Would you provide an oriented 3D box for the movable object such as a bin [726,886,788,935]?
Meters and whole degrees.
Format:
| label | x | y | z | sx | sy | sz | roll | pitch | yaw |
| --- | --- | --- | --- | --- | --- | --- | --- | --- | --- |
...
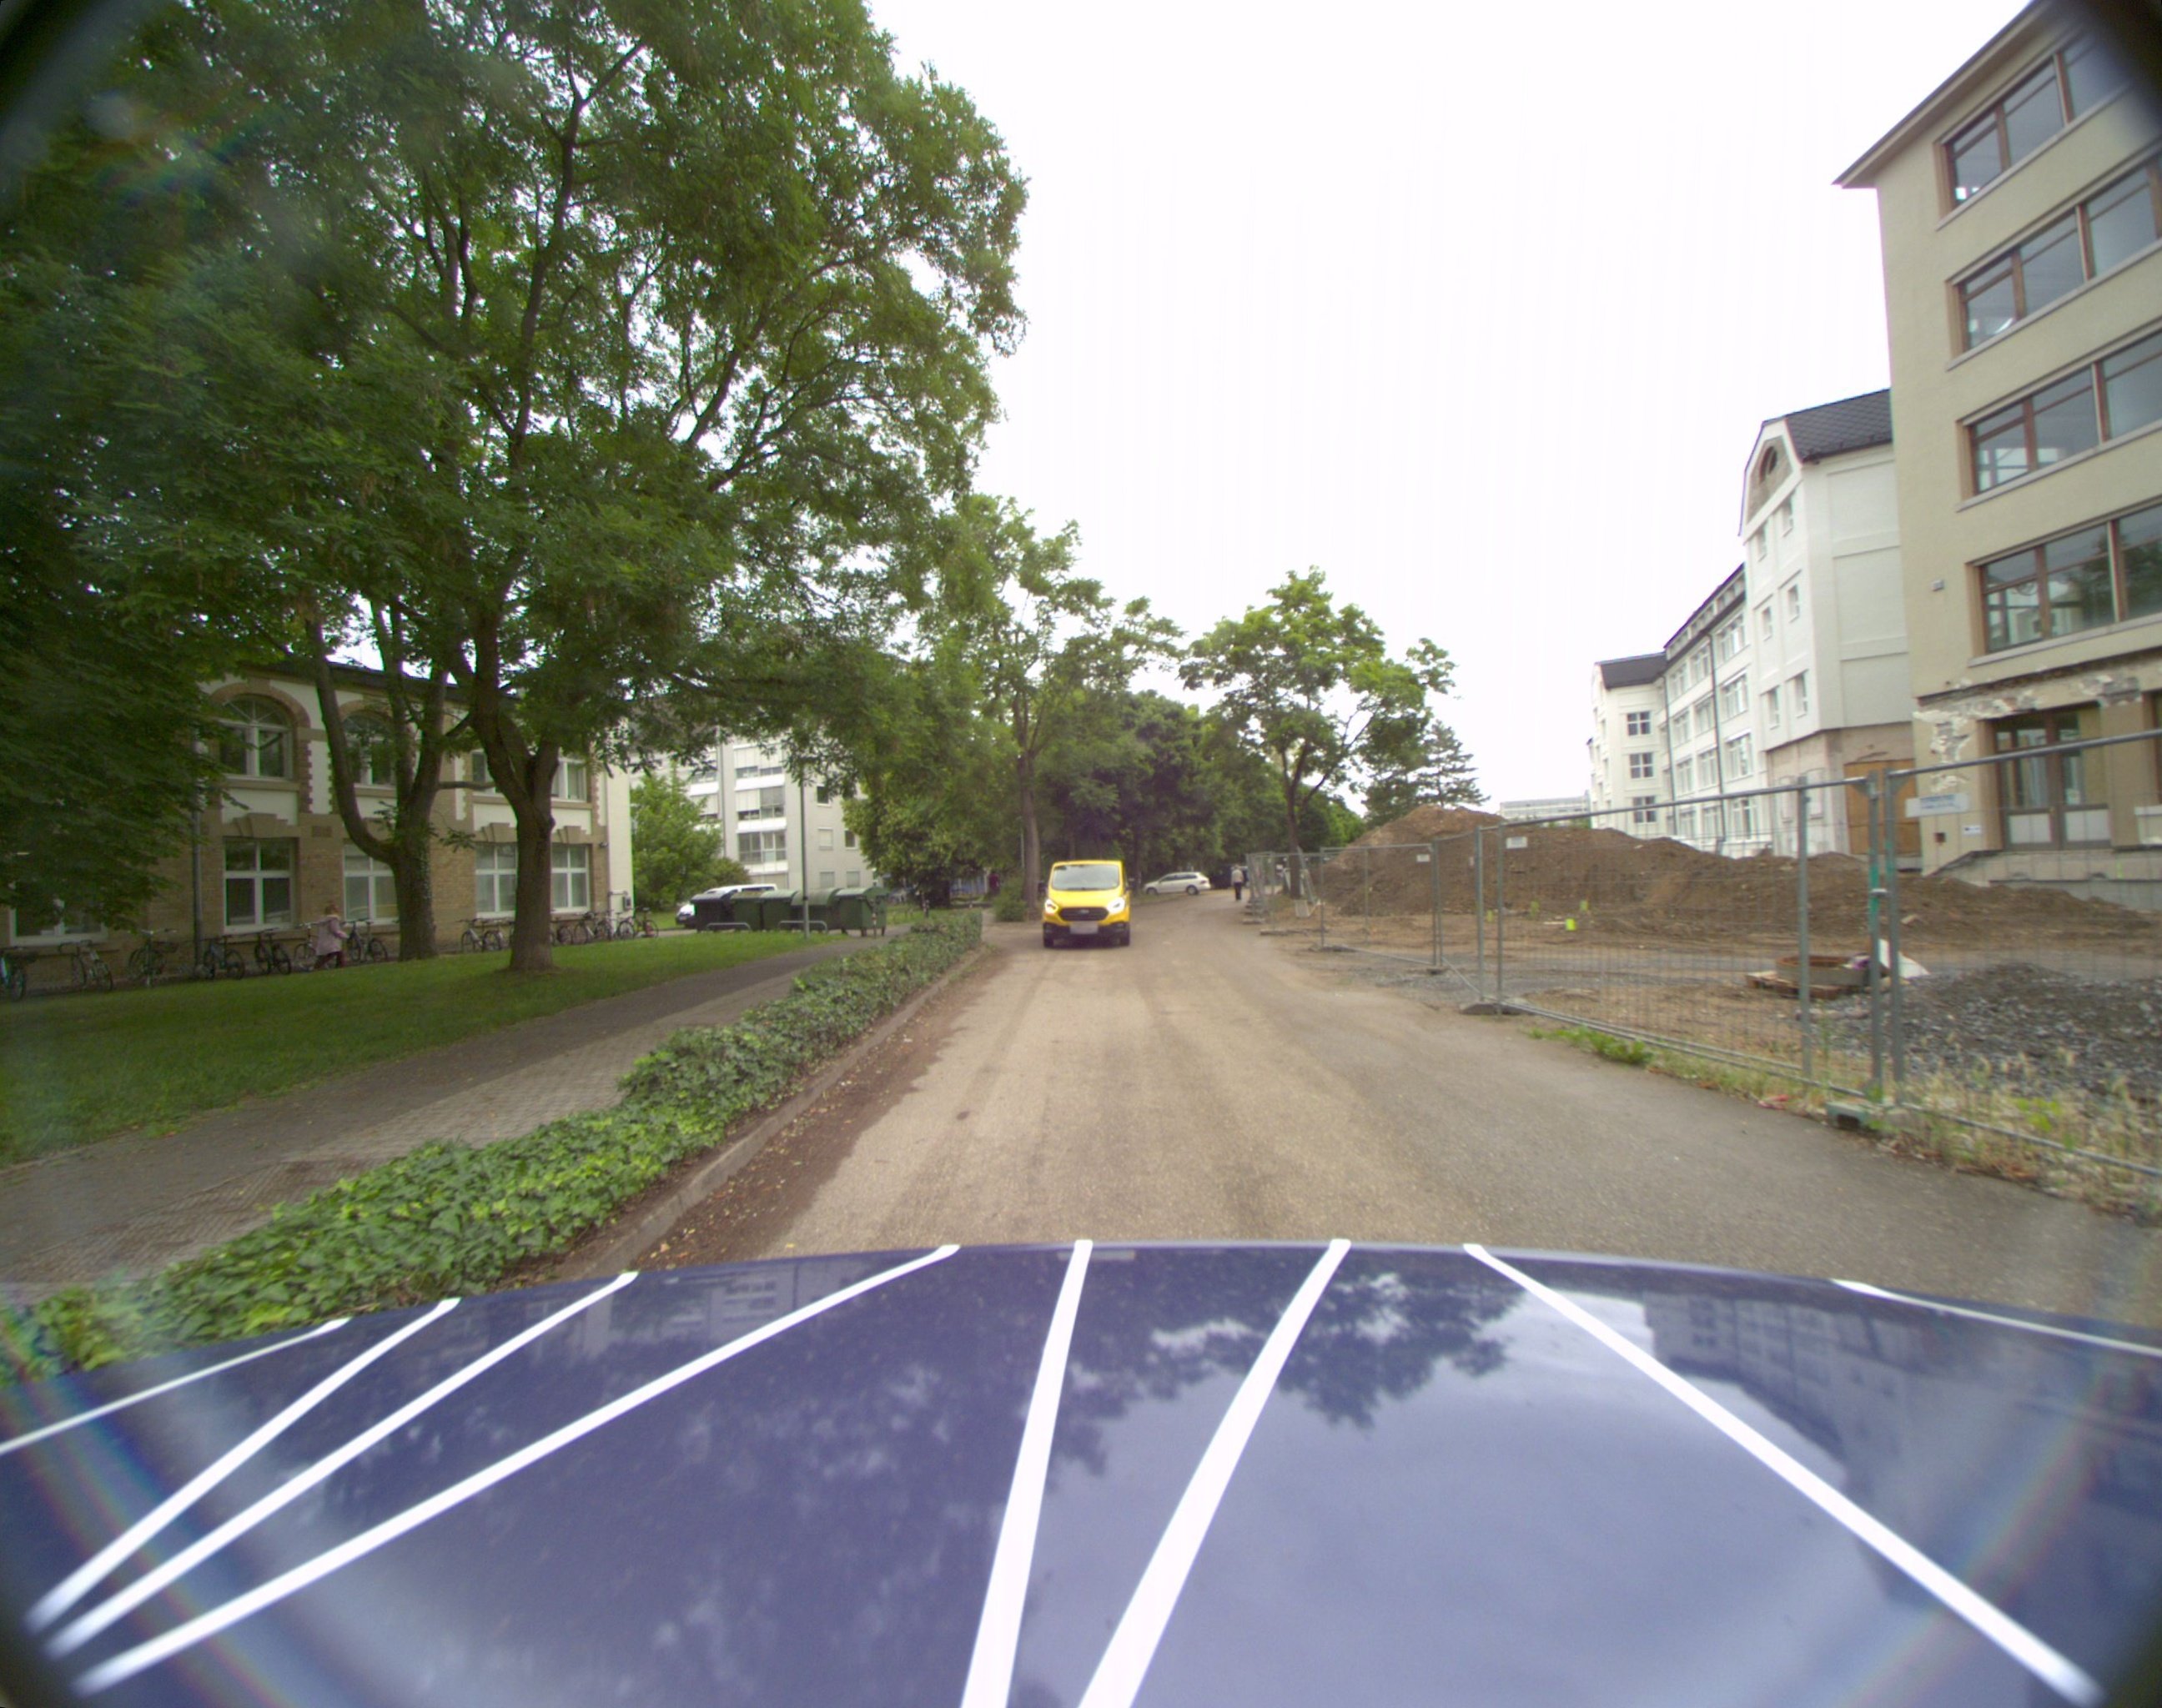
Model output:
| label | x | y | z | sx | sy | sz | roll | pitch | yaw |
| --- | --- | --- | --- | --- | --- | --- | --- | --- | --- |
| movable object such as a bin | -10.250 | 1.773 | 24.059 | 1.324 | 1.441 | 1.110 | -3 | -1 | 20 |

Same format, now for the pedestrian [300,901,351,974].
| label | x | y | z | sx | sy | sz | roll | pitch | yaw |
| --- | --- | --- | --- | --- | --- | --- | --- | --- | --- |
| pedestrian | -16.994 | 1.868 | 17.090 | 0.603 | 1.577 | 0.628 | -3 | -1 | 27 |

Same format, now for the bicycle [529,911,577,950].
| label | x | y | z | sx | sy | sz | roll | pitch | yaw |
| --- | --- | --- | --- | --- | --- | --- | --- | --- | --- |
| bicycle | -15.885 | 2.291 | 22.839 | 1.740 | 1.108 | 0.461 | -3 | -1 | 30 |

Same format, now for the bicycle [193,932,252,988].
| label | x | y | z | sx | sy | sz | roll | pitch | yaw |
| --- | --- | --- | --- | --- | --- | --- | --- | --- | --- |
| bicycle | -18.807 | 2.291 | 16.642 | 1.740 | 1.108 | 0.461 | -2 | -1 | 28 |

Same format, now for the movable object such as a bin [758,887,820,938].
| label | x | y | z | sx | sy | sz | roll | pitch | yaw |
| --- | --- | --- | --- | --- | --- | --- | --- | --- | --- |
| movable object such as a bin | -8.969 | 1.795 | 23.376 | 1.292 | 1.441 | 1.111 | -3 | -1 | 22 |

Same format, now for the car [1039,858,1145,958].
| label | x | y | z | sx | sy | sz | roll | pitch | yaw |
| --- | --- | --- | --- | --- | --- | --- | --- | --- | --- |
| car | 0.243 | 1.176 | 17.870 | 2.124 | 2.001 | 4.001 | -2 | -1 | 0 |

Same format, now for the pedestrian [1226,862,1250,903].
| label | x | y | z | sx | sy | sz | roll | pitch | yaw |
| --- | --- | --- | --- | --- | --- | --- | --- | --- | --- |
| pedestrian | 7.029 | 1.275 | 34.051 | 0.752 | 1.771 | 0.662 | -2 | -1 | -24 |

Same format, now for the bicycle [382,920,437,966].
| label | x | y | z | sx | sy | sz | roll | pitch | yaw |
| --- | --- | --- | --- | --- | --- | --- | --- | --- | --- |
| bicycle | -17.453 | 2.294 | 19.741 | 1.740 | 1.108 | 0.461 | -3 | -1 | 28 |

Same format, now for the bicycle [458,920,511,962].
| label | x | y | z | sx | sy | sz | roll | pitch | yaw |
| --- | --- | --- | --- | --- | --- | --- | --- | --- | --- |
| bicycle | -16.630 | 2.412 | 21.172 | 1.740 | 1.108 | 0.461 | -3 | -1 | 28 |

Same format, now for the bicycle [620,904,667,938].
| label | x | y | z | sx | sy | sz | roll | pitch | yaw |
| --- | --- | --- | --- | --- | --- | --- | --- | --- | --- |
| bicycle | -14.624 | 2.242 | 25.389 | 1.740 | 1.108 | 0.461 | -3 | -1 | 27 |

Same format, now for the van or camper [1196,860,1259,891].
| label | x | y | z | sx | sy | sz | roll | pitch | yaw |
| --- | --- | --- | --- | --- | --- | --- | --- | --- | --- |
| van or camper | 11.770 | 1.724 | 61.191 | 4.490 | 2.244 | 2.004 | -3 | -1 | 27 |

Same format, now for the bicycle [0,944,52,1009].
| label | x | y | z | sx | sy | sz | roll | pitch | yaw |
| --- | --- | --- | --- | --- | --- | --- | --- | --- | --- |
| bicycle | -19.850 | 2.272 | 14.210 | 1.740 | 1.108 | 0.461 | -3 | -1 | 28 |

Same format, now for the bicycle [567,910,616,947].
| label | x | y | z | sx | sy | sz | roll | pitch | yaw |
| --- | --- | --- | --- | --- | --- | --- | --- | --- | --- |
| bicycle | -15.373 | 2.347 | 23.854 | 1.740 | 1.108 | 0.461 | -3 | -1 | 28 |

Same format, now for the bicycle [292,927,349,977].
| label | x | y | z | sx | sy | sz | roll | pitch | yaw |
| --- | --- | --- | --- | --- | --- | --- | --- | --- | --- |
| bicycle | -18.074 | 2.314 | 18.052 | 1.740 | 1.108 | 0.461 | -3 | -1 | 28 |

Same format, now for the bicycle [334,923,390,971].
| label | x | y | z | sx | sy | sz | roll | pitch | yaw |
| --- | --- | --- | --- | --- | --- | --- | --- | --- | --- |
| bicycle | -17.728 | 2.290 | 18.719 | 1.740 | 1.108 | 0.461 | -3 | -1 | 28 |

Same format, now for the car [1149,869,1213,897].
| label | x | y | z | sx | sy | sz | roll | pitch | yaw |
| --- | --- | --- | --- | --- | --- | --- | --- | --- | --- |
| car | 6.552 | 1.893 | 49.597 | 3.879 | 1.565 | 1.754 | -3 | -1 | 15 |

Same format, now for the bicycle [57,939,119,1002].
| label | x | y | z | sx | sy | sz | roll | pitch | yaw |
| --- | --- | --- | --- | --- | --- | --- | --- | --- | --- |
| bicycle | -19.666 | 2.280 | 15.043 | 1.740 | 1.108 | 0.461 | -1 | 0 | 28 |

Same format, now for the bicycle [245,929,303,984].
| label | x | y | z | sx | sy | sz | roll | pitch | yaw |
| --- | --- | --- | --- | --- | --- | --- | --- | --- | --- |
| bicycle | -18.451 | 2.311 | 17.363 | 1.740 | 1.108 | 0.461 | 0 | 0 | 28 |

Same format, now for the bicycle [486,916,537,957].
| label | x | y | z | sx | sy | sz | roll | pitch | yaw |
| --- | --- | --- | --- | --- | --- | --- | --- | --- | --- |
| bicycle | -16.328 | 2.367 | 21.785 | 1.740 | 1.108 | 0.461 | -3 | -1 | 28 |

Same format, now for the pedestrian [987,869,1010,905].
| label | x | y | z | sx | sy | sz | roll | pitch | yaw |
| --- | --- | --- | --- | --- | --- | --- | --- | --- | --- |
| pedestrian | -4.808 | 1.906 | 44.315 | 0.793 | 2.051 | 1.203 | -3 | -1 | 22 |

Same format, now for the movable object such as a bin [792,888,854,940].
| label | x | y | z | sx | sy | sz | roll | pitch | yaw |
| --- | --- | --- | --- | --- | --- | --- | --- | --- | --- |
| movable object such as a bin | -7.662 | 1.784 | 22.621 | 1.283 | 1.441 | 1.111 | -3 | -1 | 28 |

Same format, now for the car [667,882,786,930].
| label | x | y | z | sx | sy | sz | roll | pitch | yaw |
| --- | --- | --- | --- | --- | --- | --- | --- | --- | --- |
| car | -16.553 | 2.392 | 35.748 | 1.897 | 1.861 | 4.782 | -6 | -3 | 28 |

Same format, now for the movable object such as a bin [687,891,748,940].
| label | x | y | z | sx | sy | sz | roll | pitch | yaw |
| --- | --- | --- | --- | --- | --- | --- | --- | --- | --- |
| movable object such as a bin | -11.739 | 1.979 | 24.555 | 1.360 | 1.441 | 1.110 | -3 | -1 | 21 |

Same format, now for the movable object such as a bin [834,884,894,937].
| label | x | y | z | sx | sy | sz | roll | pitch | yaw |
| --- | --- | --- | --- | --- | --- | --- | --- | --- | --- |
| movable object such as a bin | -6.304 | 1.629 | 22.080 | 1.272 | 1.425 | 1.074 | -3 | -1 | 35 |

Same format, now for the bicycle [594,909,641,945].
| label | x | y | z | sx | sy | sz | roll | pitch | yaw |
| --- | --- | --- | --- | --- | --- | --- | --- | --- | --- |
| bicycle | -15.013 | 2.358 | 24.584 | 1.740 | 1.108 | 0.461 | -3 | -1 | 28 |

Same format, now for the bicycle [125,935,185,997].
| label | x | y | z | sx | sy | sz | roll | pitch | yaw |
| --- | --- | --- | --- | --- | --- | --- | --- | --- | --- |
| bicycle | -19.238 | 2.299 | 15.775 | 1.740 | 1.108 | 0.461 | 0 | 0 | 28 |
